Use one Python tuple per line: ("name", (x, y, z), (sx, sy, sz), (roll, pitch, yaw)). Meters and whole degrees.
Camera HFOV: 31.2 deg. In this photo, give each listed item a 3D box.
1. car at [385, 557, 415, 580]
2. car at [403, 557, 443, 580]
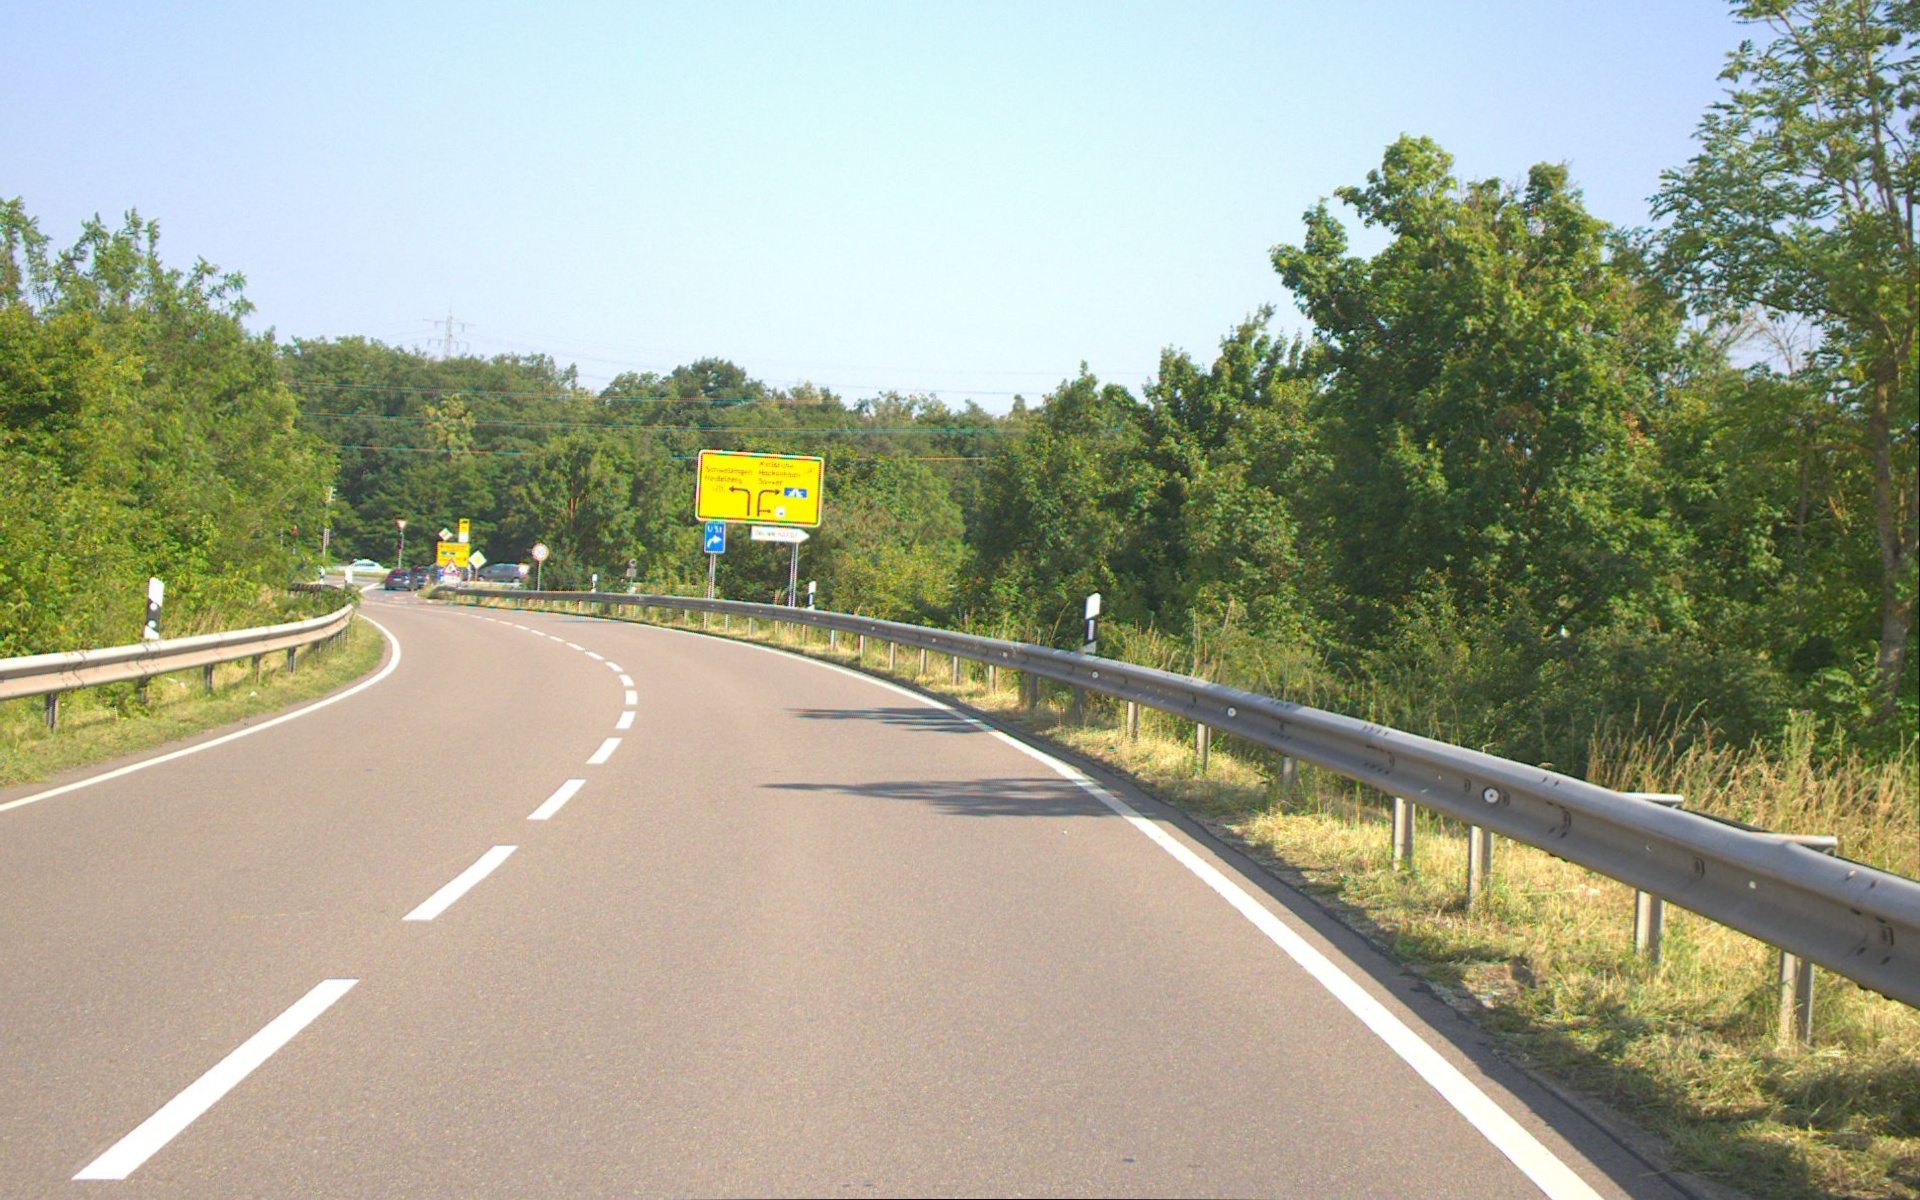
("car", (-38.186, -2.161, 234.590), (1.799, 1.393, 4.001), (-6, 1, -8))
("car", (-37.796, -2.220, 241.960), (1.799, 1.496, 3.999), (3, 0, 5))
